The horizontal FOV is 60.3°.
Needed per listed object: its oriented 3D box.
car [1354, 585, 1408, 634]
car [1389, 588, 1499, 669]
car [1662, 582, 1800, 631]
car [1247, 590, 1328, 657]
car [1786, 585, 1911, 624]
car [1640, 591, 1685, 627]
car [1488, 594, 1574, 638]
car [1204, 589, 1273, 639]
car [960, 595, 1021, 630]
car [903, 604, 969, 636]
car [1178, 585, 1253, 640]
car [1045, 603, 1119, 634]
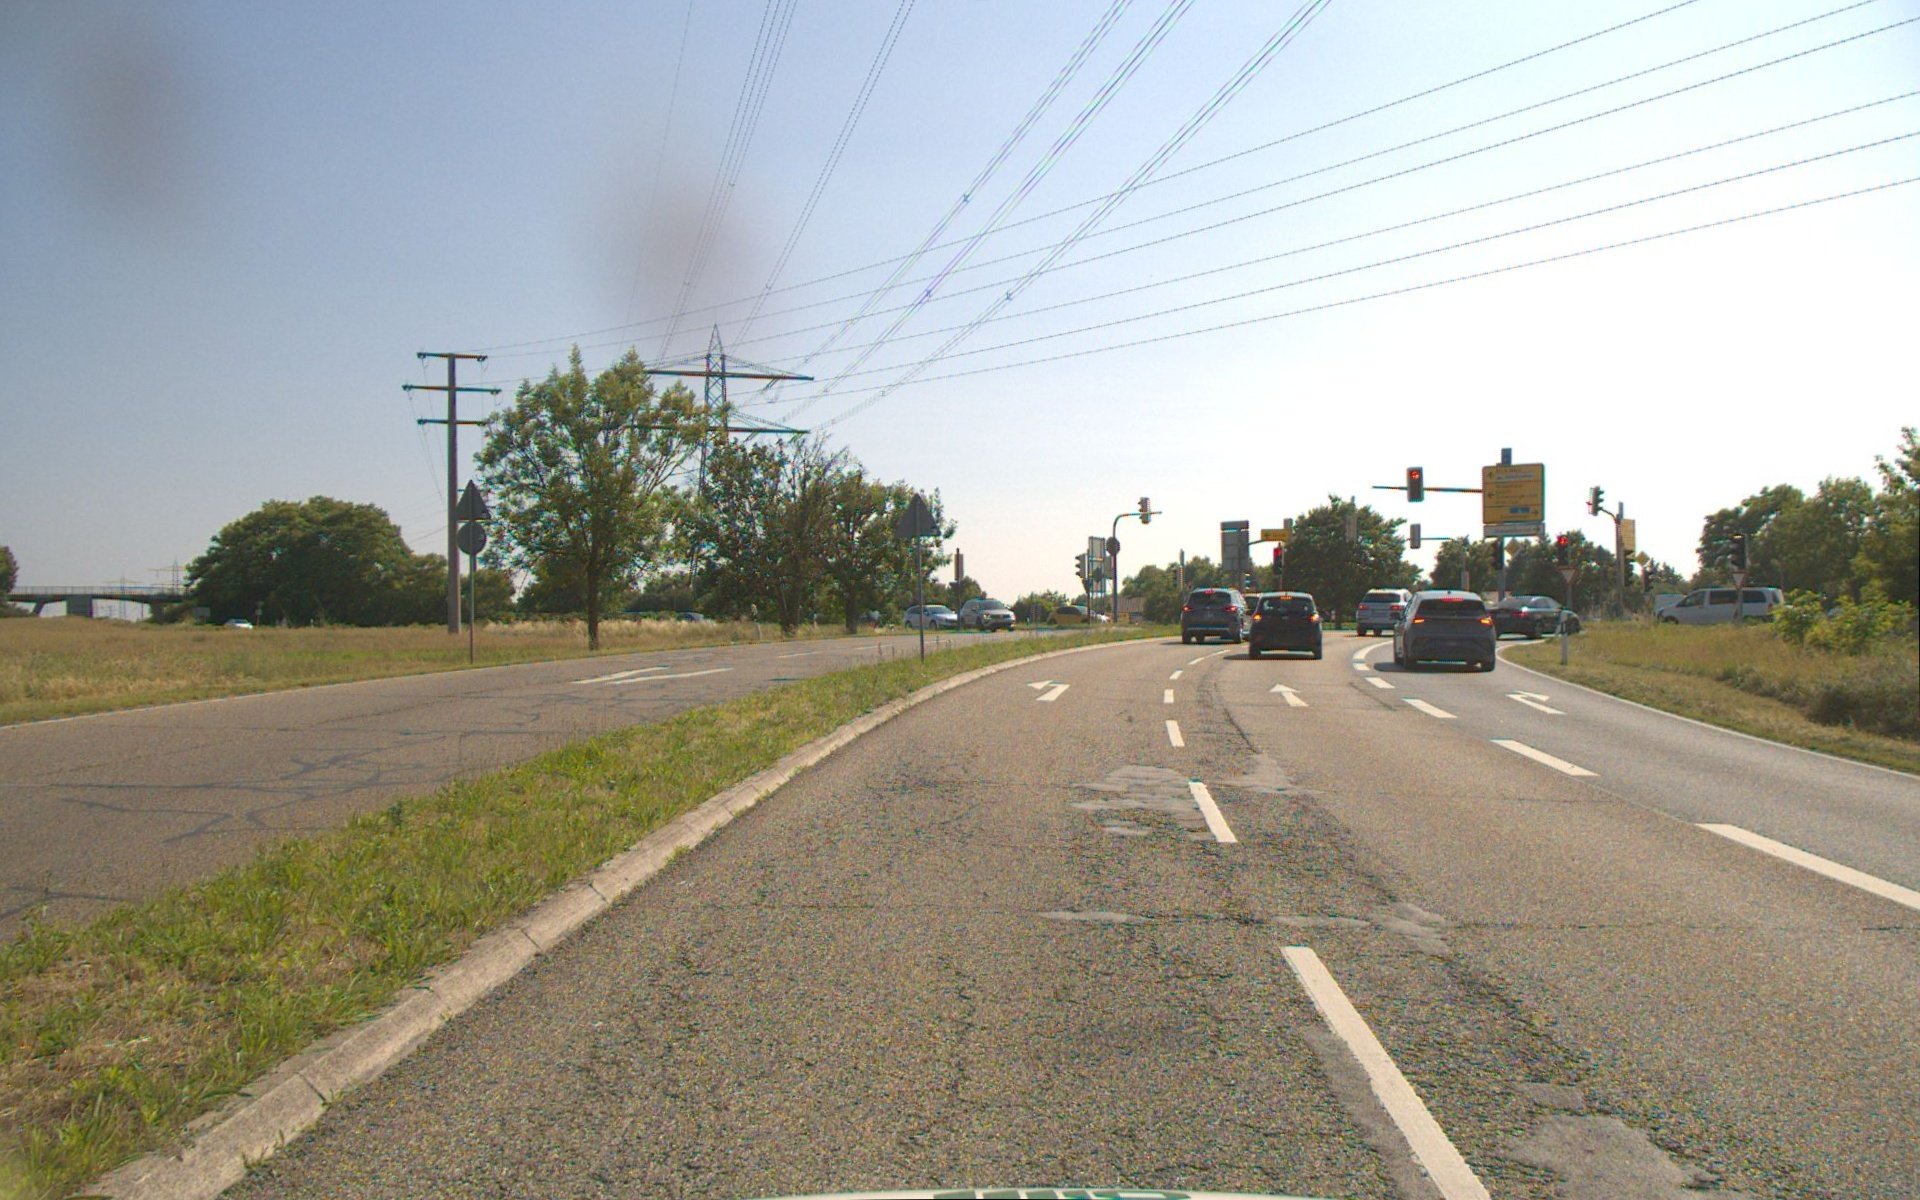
[{"bbox_3d":[15.273,0.344,59.886,1.599,1.706,3.751,1,0,19],"label":"car"},{"bbox_3d":[9.855,0.533,33.900,1.735,1.544,4.103,1,0,10],"label":"car"},{"bbox_3d":[32.293,0.249,69.362,4.863,1.951,1.987,1,0,44],"label":"car"},{"bbox_3d":[7.638,0.519,38.352,1.598,1.473,3.297,1,0,15],"label":"car"},{"bbox_3d":[36.999,0.215,68.948,4.261,1.546,1.795,-1,-1,44],"label":"car"},{"bbox_3d":[44.212,0.567,104.010,1.895,2.174,4.629,1,0,32],"label":"car"},{"bbox_3d":[19.405,0.536,56.162,1.614,1.410,3.983,-1,0,37],"label":"car"},{"bbox_3d":[9.321,0.464,55.185,1.705,1.596,3.625,1,0,18],"label":"car"},{"bbox_3d":[1.497,0.635,82.405,1.787,1.680,3.978,0,-1,-19],"label":"car"},{"bbox_3d":[-1.302,1.053,88.558,1.797,1.680,3.956,0,-1,-32],"label":"car"},{"bbox_3d":[7.681,0.344,49.543,1.705,1.596,3.626,0,0,17],"label":"car"},{"bbox_3d":[6.808,1.054,92.259,1.806,1.680,3.935,1,-1,-44],"label":"car"}]
